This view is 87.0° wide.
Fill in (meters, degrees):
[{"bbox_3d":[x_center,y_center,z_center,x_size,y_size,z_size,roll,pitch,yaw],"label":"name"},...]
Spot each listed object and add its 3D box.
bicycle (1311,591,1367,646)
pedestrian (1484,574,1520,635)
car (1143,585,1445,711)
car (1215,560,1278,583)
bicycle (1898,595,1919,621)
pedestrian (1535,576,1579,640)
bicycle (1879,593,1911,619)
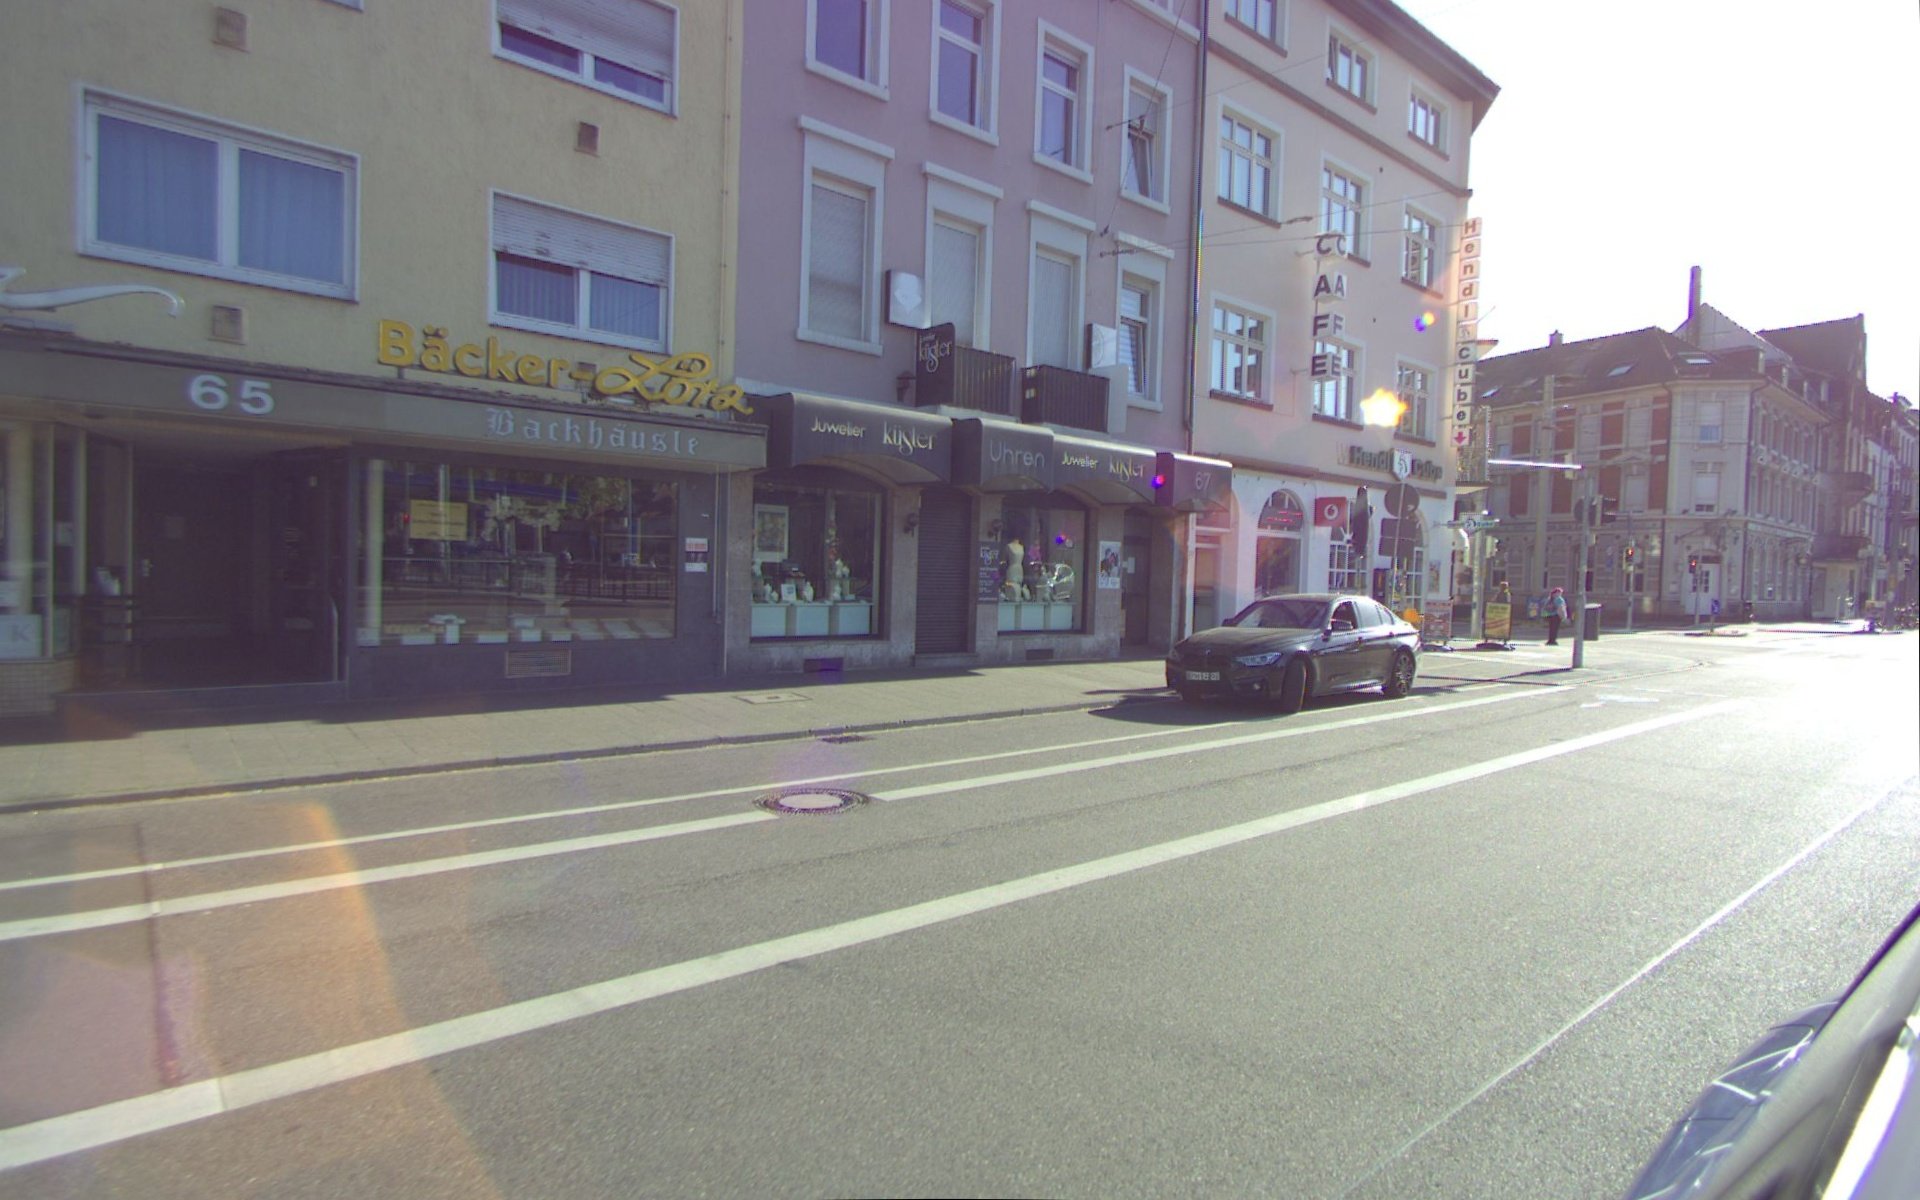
[{"bbox_3d":[8.245,0.378,21.982,0.693,1.122,1.842,2,2,35],"label":"bicycle"},{"bbox_3d":[15.645,0.114,29.218,0.665,1.711,0.663,0,2,-40],"label":"pedestrian"},{"bbox_3d":[4.710,0.524,13.878,4.636,1.447,1.902,-1,1,-42],"label":"car"},{"bbox_3d":[20.038,-2.005,71.070,1.958,1.510,4.282,0,2,-24],"label":"car"},{"bbox_3d":[45.778,0.373,48.543,2.254,1.230,0.694,0,2,-36],"label":"bicycle"},{"bbox_3d":[16.434,0.212,27.849,0.785,1.711,0.775,3,-1,-41],"label":"pedestrian"},{"bbox_3d":[45.480,0.279,49.217,2.254,1.230,0.694,0,2,-36],"label":"bicycle"}]
